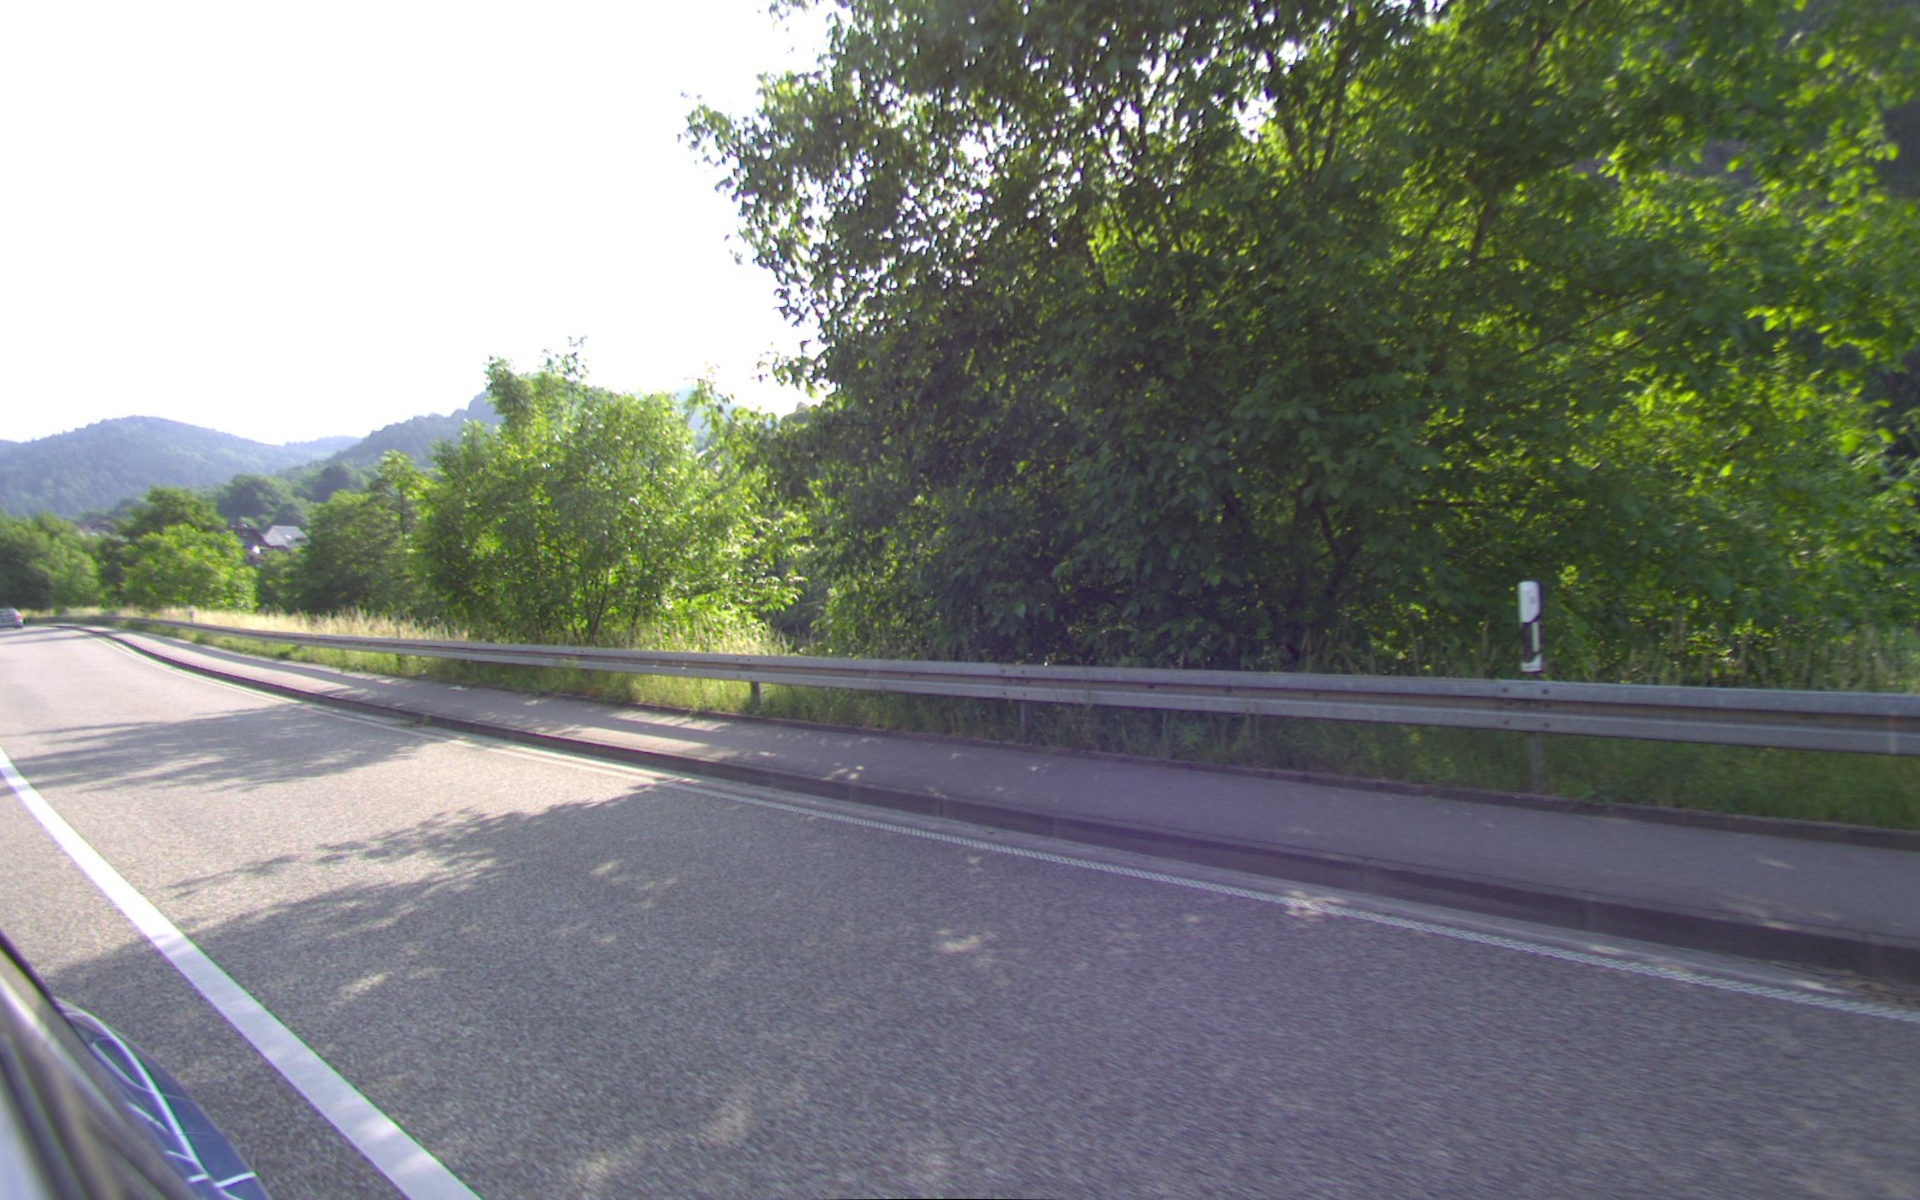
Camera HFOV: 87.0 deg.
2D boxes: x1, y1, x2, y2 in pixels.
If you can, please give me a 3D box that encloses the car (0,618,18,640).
[{"bbox_3d":[-67.531,2.036,71.333,1.559,1.490,4.003,-2,1,-44],"label":"car"}]
